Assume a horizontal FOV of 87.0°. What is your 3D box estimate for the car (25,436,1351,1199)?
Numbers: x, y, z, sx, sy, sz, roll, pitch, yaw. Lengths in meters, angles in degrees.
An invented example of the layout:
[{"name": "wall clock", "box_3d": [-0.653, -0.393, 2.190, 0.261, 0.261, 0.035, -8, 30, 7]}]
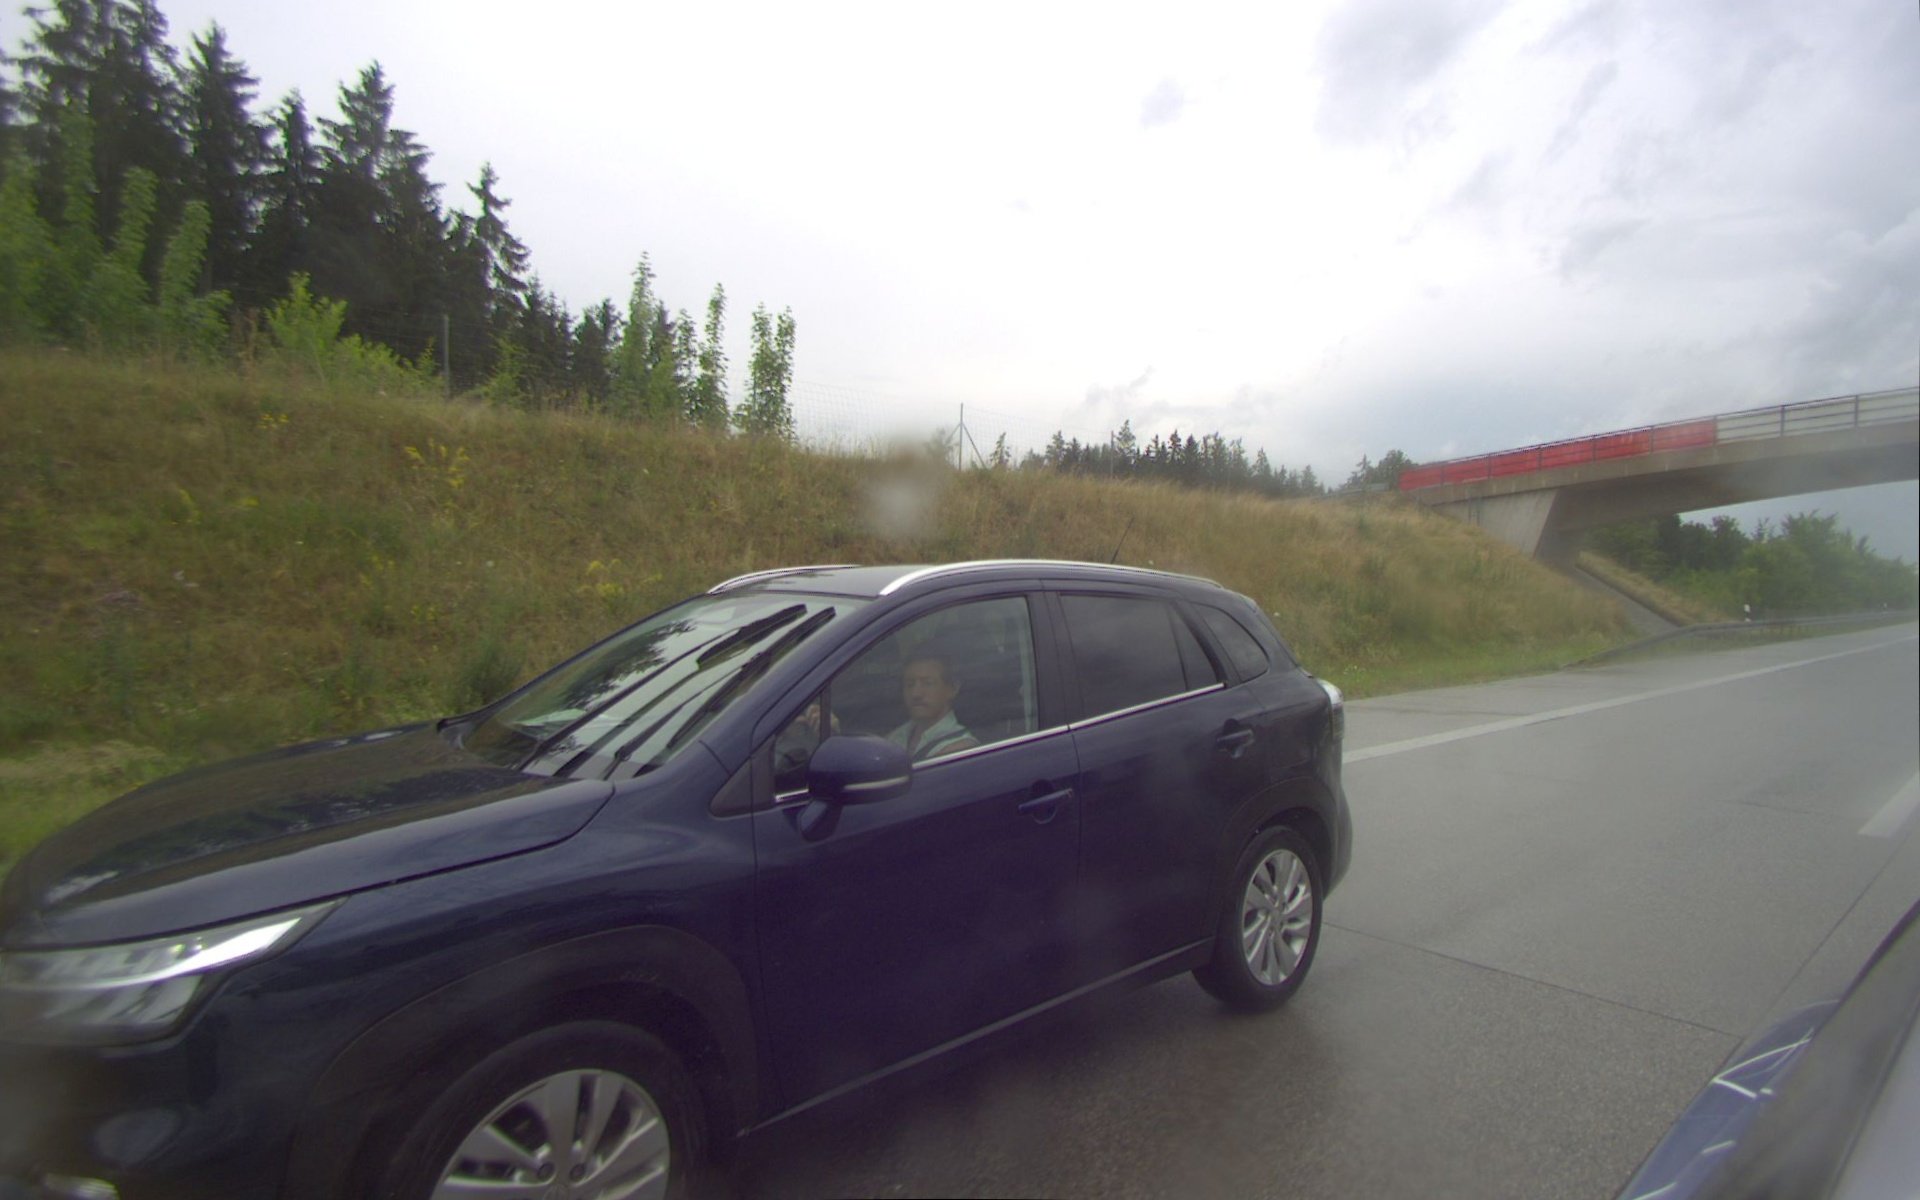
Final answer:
[{"name": "car", "box_3d": [-0.525, 0.580, 3.265, 3.568, 1.596, 1.897, 1, 0, -41]}]
